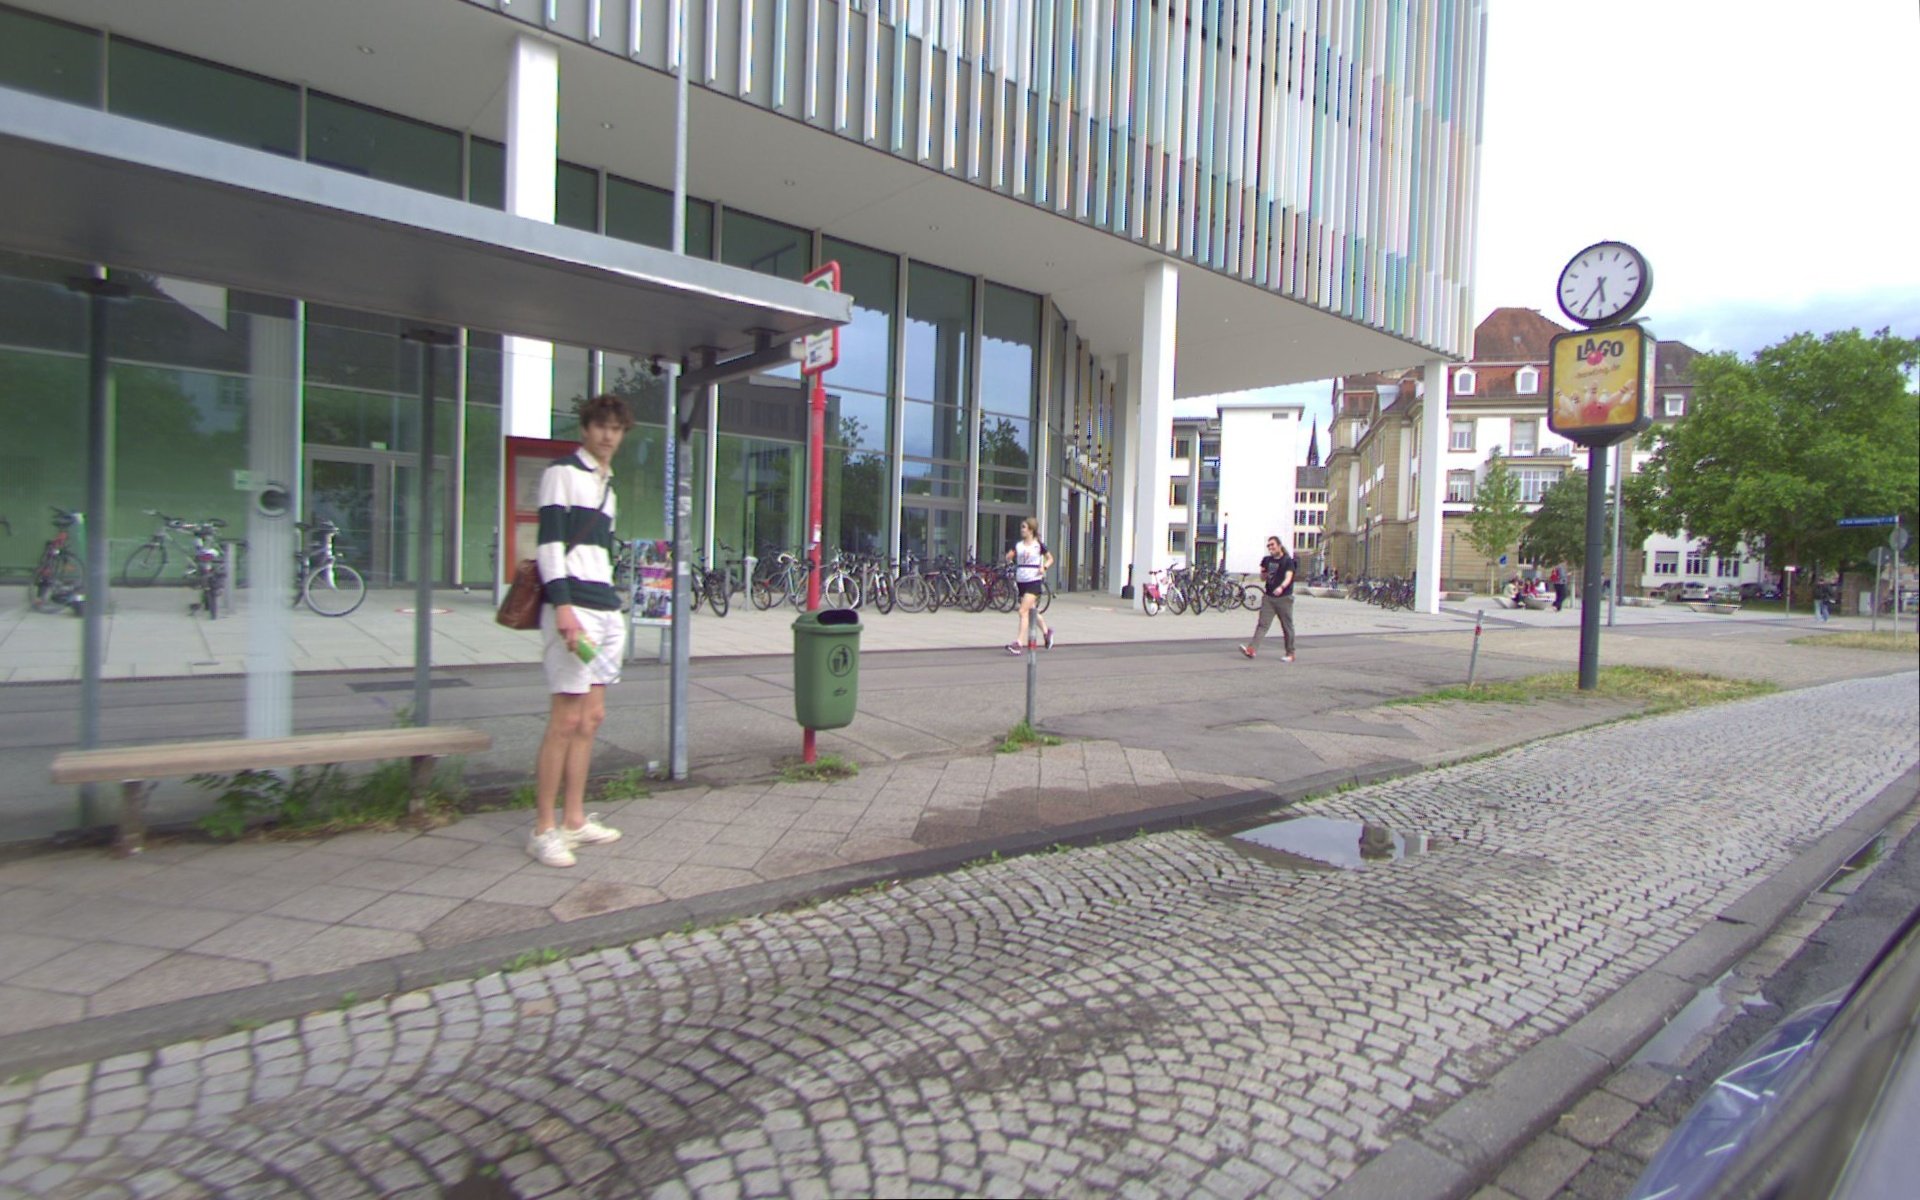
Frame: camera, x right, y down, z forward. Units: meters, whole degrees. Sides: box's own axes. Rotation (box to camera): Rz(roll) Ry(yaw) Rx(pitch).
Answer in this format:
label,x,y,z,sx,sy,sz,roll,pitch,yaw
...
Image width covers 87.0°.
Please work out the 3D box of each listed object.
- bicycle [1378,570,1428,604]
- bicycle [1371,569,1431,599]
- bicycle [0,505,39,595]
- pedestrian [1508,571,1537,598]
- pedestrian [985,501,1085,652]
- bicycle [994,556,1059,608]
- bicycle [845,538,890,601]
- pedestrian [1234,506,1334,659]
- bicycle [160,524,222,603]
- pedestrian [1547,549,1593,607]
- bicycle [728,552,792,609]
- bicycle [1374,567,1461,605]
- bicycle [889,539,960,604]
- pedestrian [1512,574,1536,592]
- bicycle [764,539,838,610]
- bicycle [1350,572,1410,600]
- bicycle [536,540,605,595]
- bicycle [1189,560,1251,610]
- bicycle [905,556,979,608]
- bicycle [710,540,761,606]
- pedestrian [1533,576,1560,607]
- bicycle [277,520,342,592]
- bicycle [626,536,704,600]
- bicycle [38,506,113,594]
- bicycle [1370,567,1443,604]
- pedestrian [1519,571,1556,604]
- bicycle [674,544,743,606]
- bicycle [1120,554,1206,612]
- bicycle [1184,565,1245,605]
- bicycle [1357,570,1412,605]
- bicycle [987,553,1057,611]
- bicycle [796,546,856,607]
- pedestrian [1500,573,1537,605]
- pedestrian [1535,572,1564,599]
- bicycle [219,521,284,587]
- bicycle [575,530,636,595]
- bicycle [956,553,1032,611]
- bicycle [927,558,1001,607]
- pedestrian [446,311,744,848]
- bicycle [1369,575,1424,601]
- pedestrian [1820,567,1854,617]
label,x,y,z,sx,sy,sz,roll,pitch,yaw
bicycle,14.485,-0.416,33.071,1.805,1.075,0.640,1,1,-35
bicycle,16.856,-0.615,38.721,1.928,1.014,0.773,3,2,9
bicycle,-10.232,-0.560,10.755,0.546,0.885,1.611,1,4,-39
pedestrian,27.084,-0.728,48.712,0.862,1.273,0.911,1,1,-37
pedestrian,0.969,-0.313,13.084,0.879,1.858,0.844,0,3,-42
bicycle,1.396,-0.389,21.554,0.557,0.947,1.615,2,4,-29
bicycle,-1.863,-0.653,20.671,0.636,1.158,1.988,4,4,1
pedestrian,4.508,-0.257,14.101,0.878,2.037,0.845,1,4,-38
bicycle,-9.162,-0.450,12.034,0.546,0.849,1.459,1,4,-39
pedestrian,22.279,-0.812,37.007,1.170,2.088,1.129,1,1,18
bicycle,-3.463,-0.348,17.457,0.360,0.907,1.611,1,3,-39
bicycle,16.377,-0.522,36.277,2.675,1.202,0.773,3,2,9
bicycle,-0.701,-0.561,19.359,0.561,1.104,1.653,1,5,-31
pedestrian,26.559,-0.794,47.626,0.718,0.833,0.638,1,3,-24
bicycle,-2.799,-0.470,17.699,0.561,1.115,1.651,1,4,-36
bicycle,17.015,-0.590,41.031,2.166,1.018,0.777,3,2,21
bicycle,-5.935,-0.500,15.378,0.546,0.755,1.439,1,4,-39
bicycle,6.218,-0.359,24.144,0.607,1.092,1.935,6,4,38
bicycle,-0.372,-0.362,19.649,0.546,0.885,1.611,1,4,-38
bicycle,-3.866,-0.474,17.403,0.426,1.062,1.203,1,4,-33
pedestrian,27.076,-0.383,46.693,0.908,1.384,0.866,2,1,41
bicycle,-8.399,-0.583,13.043,0.546,0.843,1.537,1,4,-39
bicycle,-4.509,-0.500,15.423,0.546,0.885,1.611,1,4,-39
bicycle,-9.758,-0.571,11.195,0.546,0.885,1.611,1,4,-39
bicycle,15.493,-0.513,35.181,2.146,1.129,0.735,3,2,8
pedestrian,22.515,-0.491,39.472,0.876,1.221,0.846,2,2,-5
bicycle,-3.982,-0.406,15.985,0.546,0.885,1.287,1,4,-39
bicycle,4.427,-0.367,21.979,2.165,1.153,0.637,0,6,-44
bicycle,6.608,-0.380,26.290,1.465,0.941,0.439,4,1,12
bicycle,17.995,-0.517,42.934,1.992,1.322,0.639,5,2,29
bicycle,1.228,-0.371,20.330,0.549,1.056,1.405,1,5,-39
bicycle,-2.453,-0.438,18.408,0.539,1.020,1.247,1,4,-35
pedestrian,21.781,-0.437,39.446,0.828,1.208,0.896,1,2,-26
pedestrian,27.903,-0.697,47.886,0.862,1.273,0.911,1,1,-37
bicycle,-8.694,-0.578,12.401,0.546,0.725,1.565,1,4,-39
bicycle,-5.594,-0.614,15.917,0.506,0.958,1.699,1,3,-33
bicycle,0.655,-0.368,20.151,0.546,0.994,1.612,1,5,-39
bicycle,0.059,-0.359,19.957,0.546,0.885,1.611,1,3,-39
pedestrian,-1.622,-0.095,4.451,0.838,2.038,0.915,3,3,-41
bicycle,17.069,-0.458,39.571,1.812,0.910,0.672,3,2,2
pedestrian,36.847,-0.345,42.526,0.878,2.038,0.845,1,2,-38
